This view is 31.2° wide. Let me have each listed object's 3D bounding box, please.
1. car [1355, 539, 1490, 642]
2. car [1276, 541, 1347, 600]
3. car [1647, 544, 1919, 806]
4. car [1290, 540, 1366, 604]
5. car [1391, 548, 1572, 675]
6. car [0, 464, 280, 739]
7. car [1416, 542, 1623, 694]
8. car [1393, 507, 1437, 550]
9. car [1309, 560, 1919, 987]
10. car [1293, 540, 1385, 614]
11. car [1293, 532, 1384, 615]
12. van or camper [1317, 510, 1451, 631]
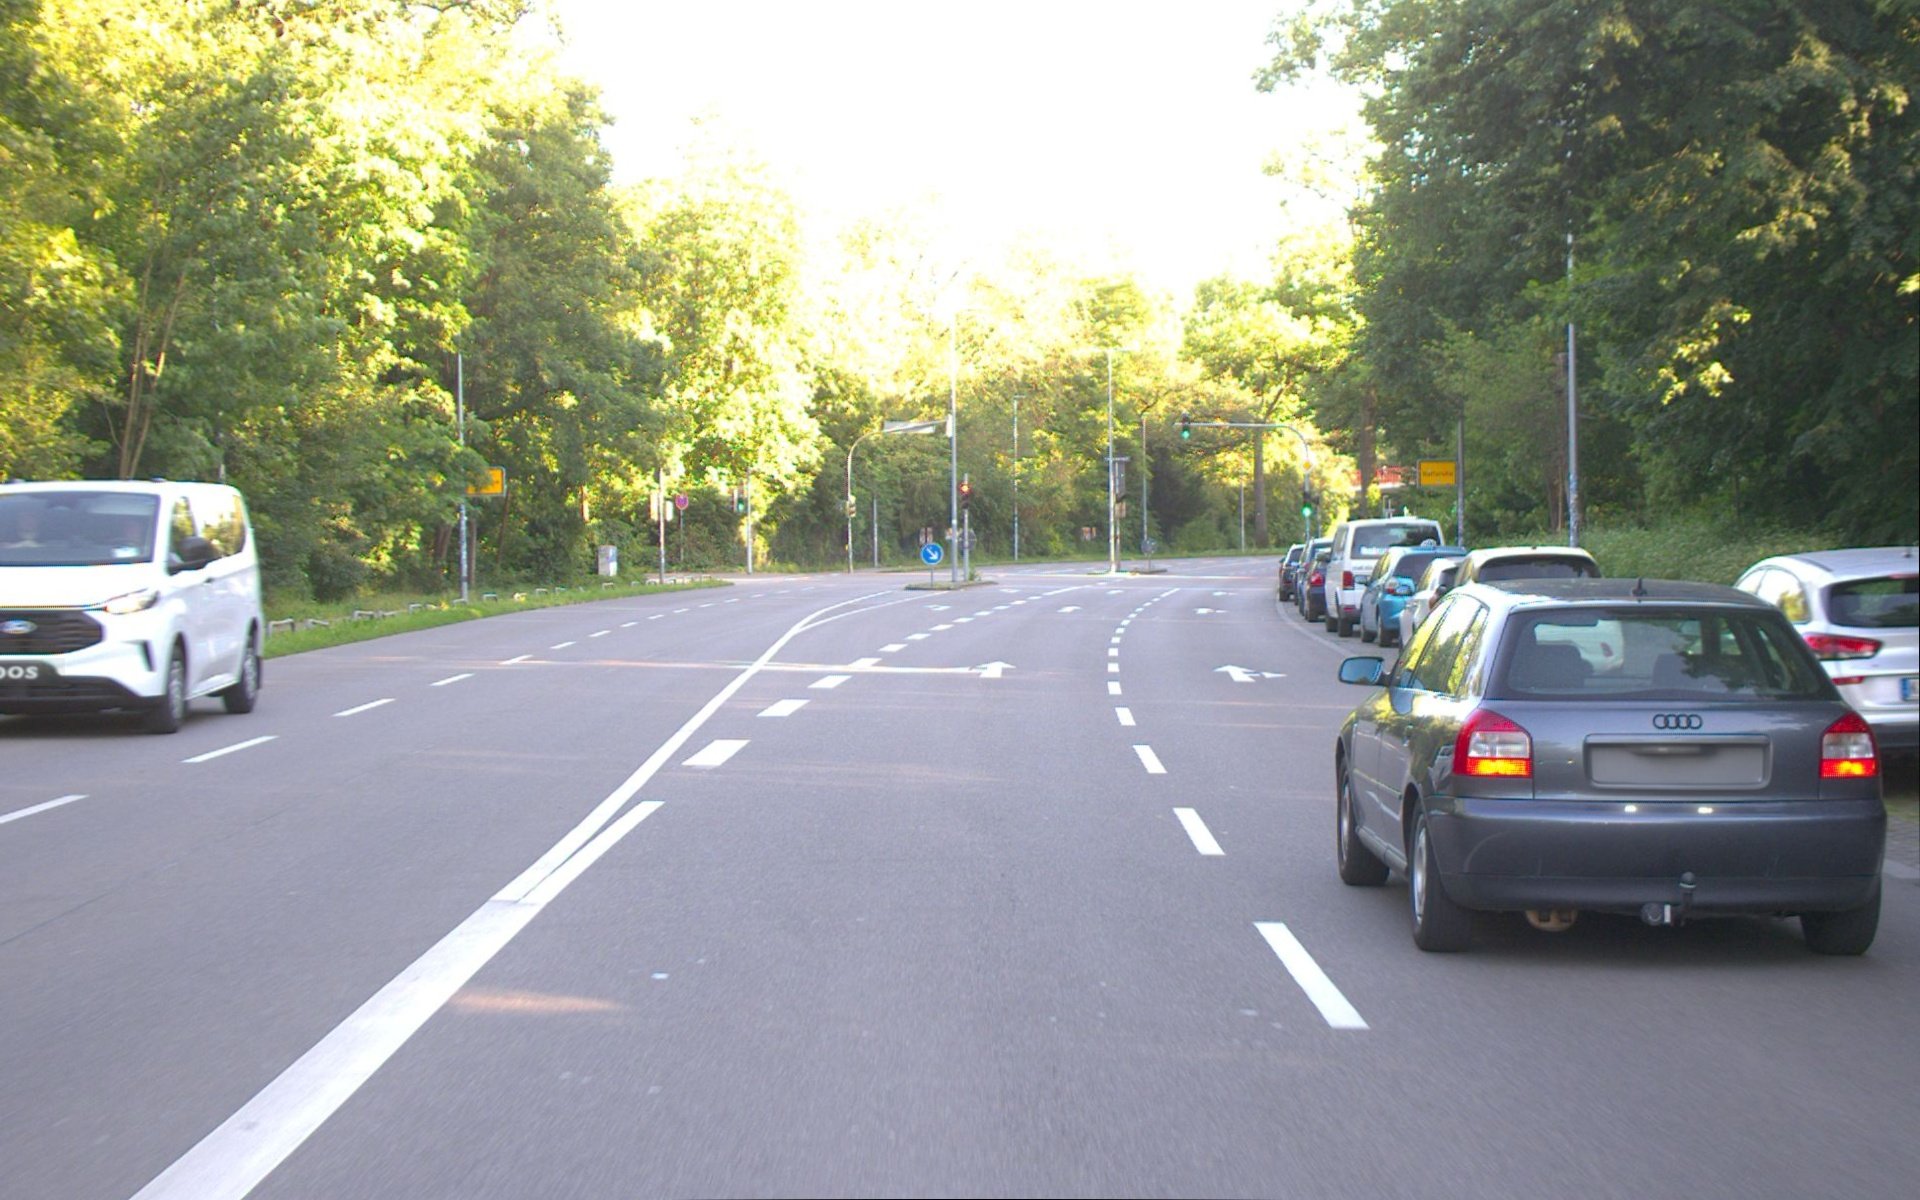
[{"bbox_3d":[7.078,-0.183,52.897,1.648,1.517,3.866,0,1,2],"label":"car"},{"bbox_3d":[9.205,-0.787,90.225,1.728,1.456,4.166,-2,1,5],"label":"car"},{"bbox_3d":[5.685,0.390,21.875,1.728,1.436,4.667,-1,1,1],"label":"car"},{"bbox_3d":[9.047,-0.703,84.724,1.728,1.485,4.089,-2,1,5],"label":"car"},{"bbox_3d":[6.190,0.104,41.173,1.728,1.405,4.089,-1,1,3],"label":"car"},{"bbox_3d":[-6.882,-0.018,27.536,1.993,1.985,4.998,1,0,-2],"label":"car"},{"bbox_3d":[5.907,0.146,36.697,1.728,1.517,4.089,0,1,3],"label":"car"},{"bbox_3d":[25.357,-3.970,191.548,2.309,2.328,4.558,0,1,9],"label":"car"},{"bbox_3d":[2.502,0.579,13.993,1.727,1.436,4.090,0,1,0],"label":"car"},{"bbox_3d":[7.547,-0.484,68.686,1.650,1.436,4.112,0,1,4],"label":"car"},{"bbox_3d":[8.130,-0.596,74.085,1.728,1.698,4.089,-2,1,4],"label":"car"},{"bbox_3d":[7.231,-0.531,59.078,1.832,1.963,5.341,1,1,2],"label":"van or camper"}]
